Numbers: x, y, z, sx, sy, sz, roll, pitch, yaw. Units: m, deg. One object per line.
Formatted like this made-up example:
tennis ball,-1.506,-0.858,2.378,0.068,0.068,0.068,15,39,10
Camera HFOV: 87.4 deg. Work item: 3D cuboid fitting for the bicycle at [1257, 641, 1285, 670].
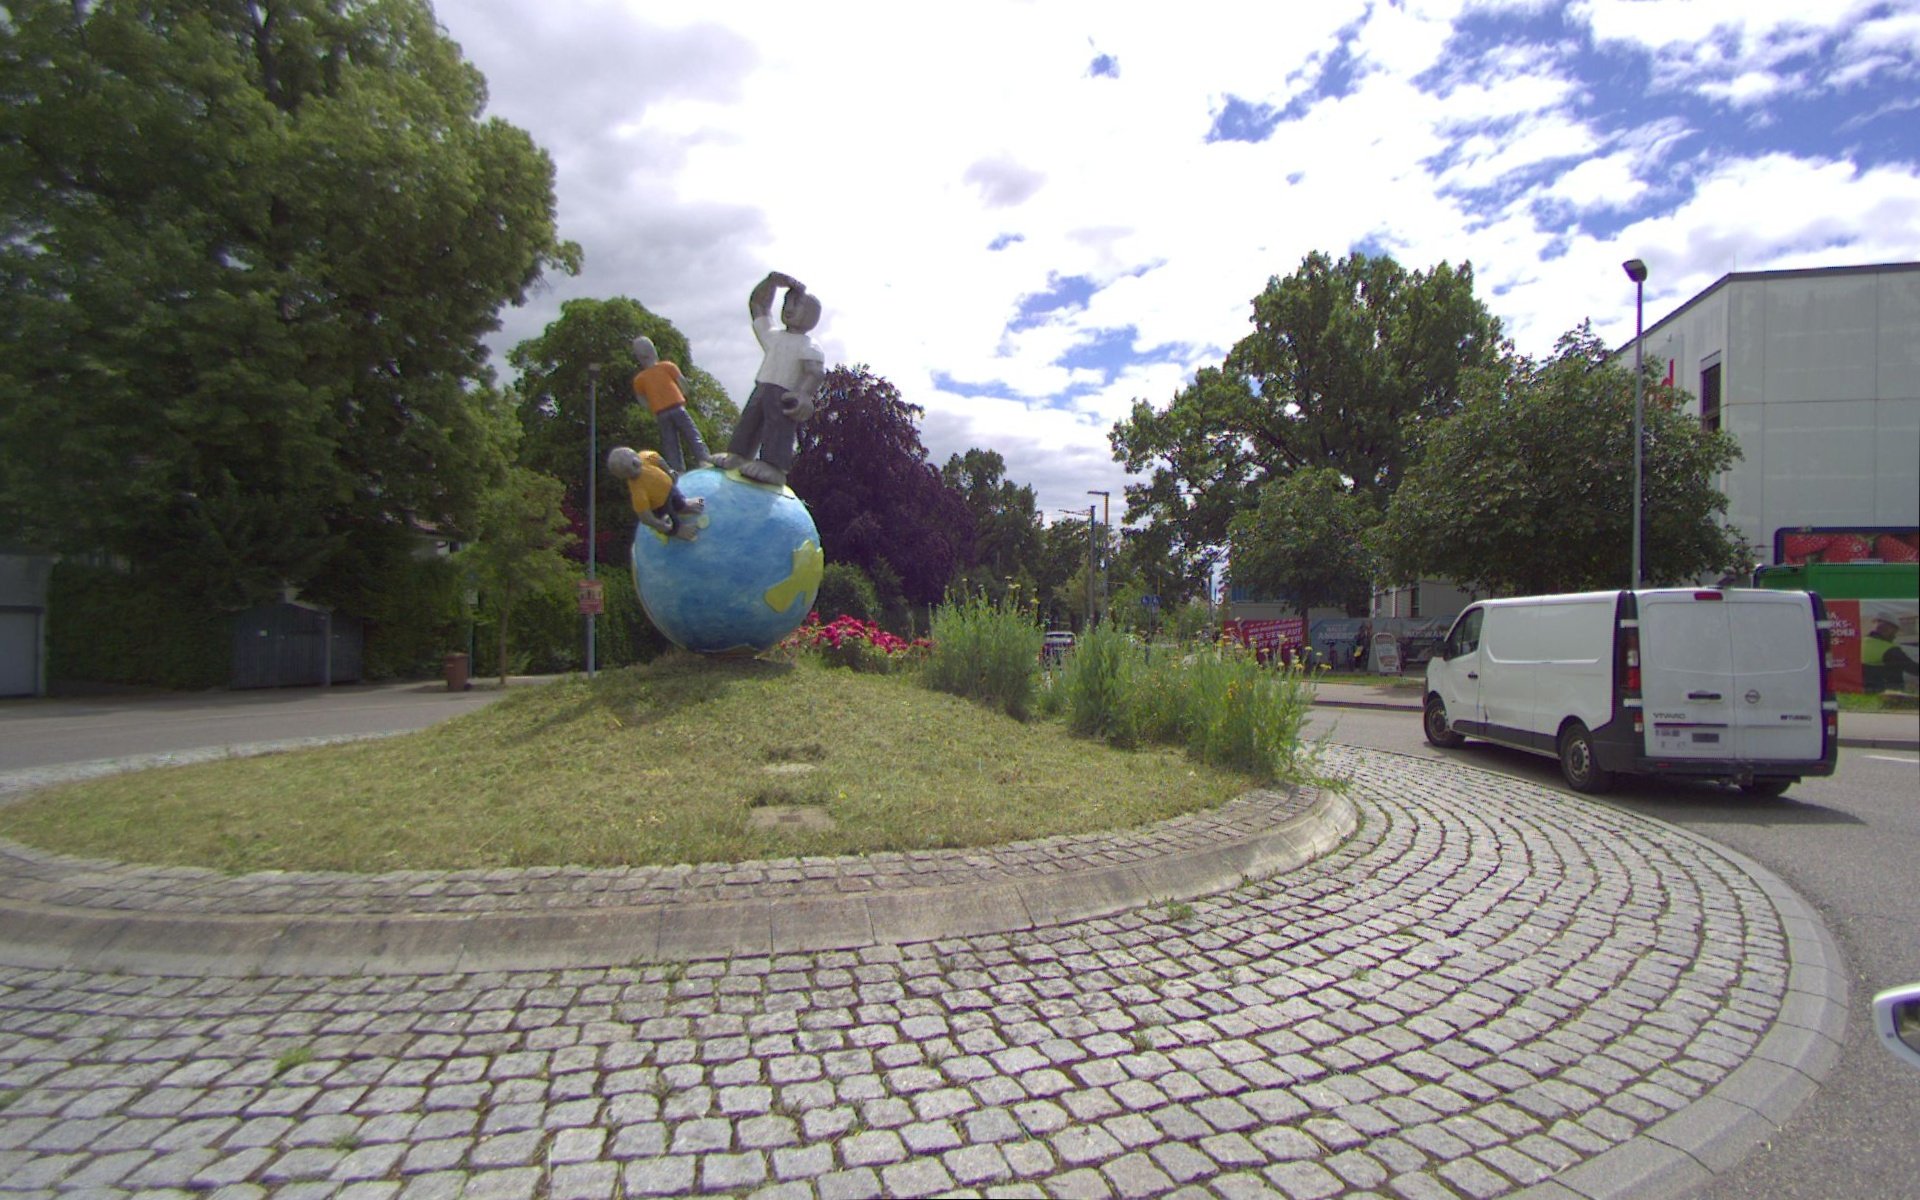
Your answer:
bicycle,12.193,2.166,39.361,0.620,1.063,2.068,2,0,28

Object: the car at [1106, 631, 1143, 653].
car,12.826,3.266,78.068,2.029,1.520,3.924,1,0,21

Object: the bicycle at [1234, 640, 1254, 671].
bicycle,11.285,2.173,39.891,0.619,1.142,1.969,2,0,19

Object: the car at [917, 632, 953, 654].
car,-1.698,3.022,70.866,2.027,1.405,4.049,1,0,6

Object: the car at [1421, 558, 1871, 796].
car,7.048,0.679,11.179,2.000,1.971,4.996,2,0,7

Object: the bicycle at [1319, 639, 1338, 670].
bicycle,14.266,2.088,38.907,0.520,1.109,2.072,2,0,16

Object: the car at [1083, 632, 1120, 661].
car,9.568,3.097,67.680,1.865,1.768,3.926,1,0,17

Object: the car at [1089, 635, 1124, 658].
car,10.735,3.397,73.414,2.028,1.496,3.926,1,0,17

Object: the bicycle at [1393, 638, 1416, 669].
bicycle,16.780,2.021,37.956,0.619,1.078,1.969,2,0,19

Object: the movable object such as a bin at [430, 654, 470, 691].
movable object such as a bin,-12.578,1.780,24.799,0.620,0.874,0.639,-1,-2,26

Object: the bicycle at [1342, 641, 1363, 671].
bicycle,15.159,2.147,38.804,0.531,1.063,1.970,2,0,15

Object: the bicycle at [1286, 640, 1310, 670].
bicycle,13.140,2.114,39.108,0.619,1.063,2.072,2,0,12

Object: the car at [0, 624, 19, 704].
car,-20.267,1.236,19.335,3.927,1.505,1.997,-1,-1,28

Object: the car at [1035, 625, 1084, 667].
car,4.141,1.894,42.232,1.900,1.558,3.926,1,0,4
